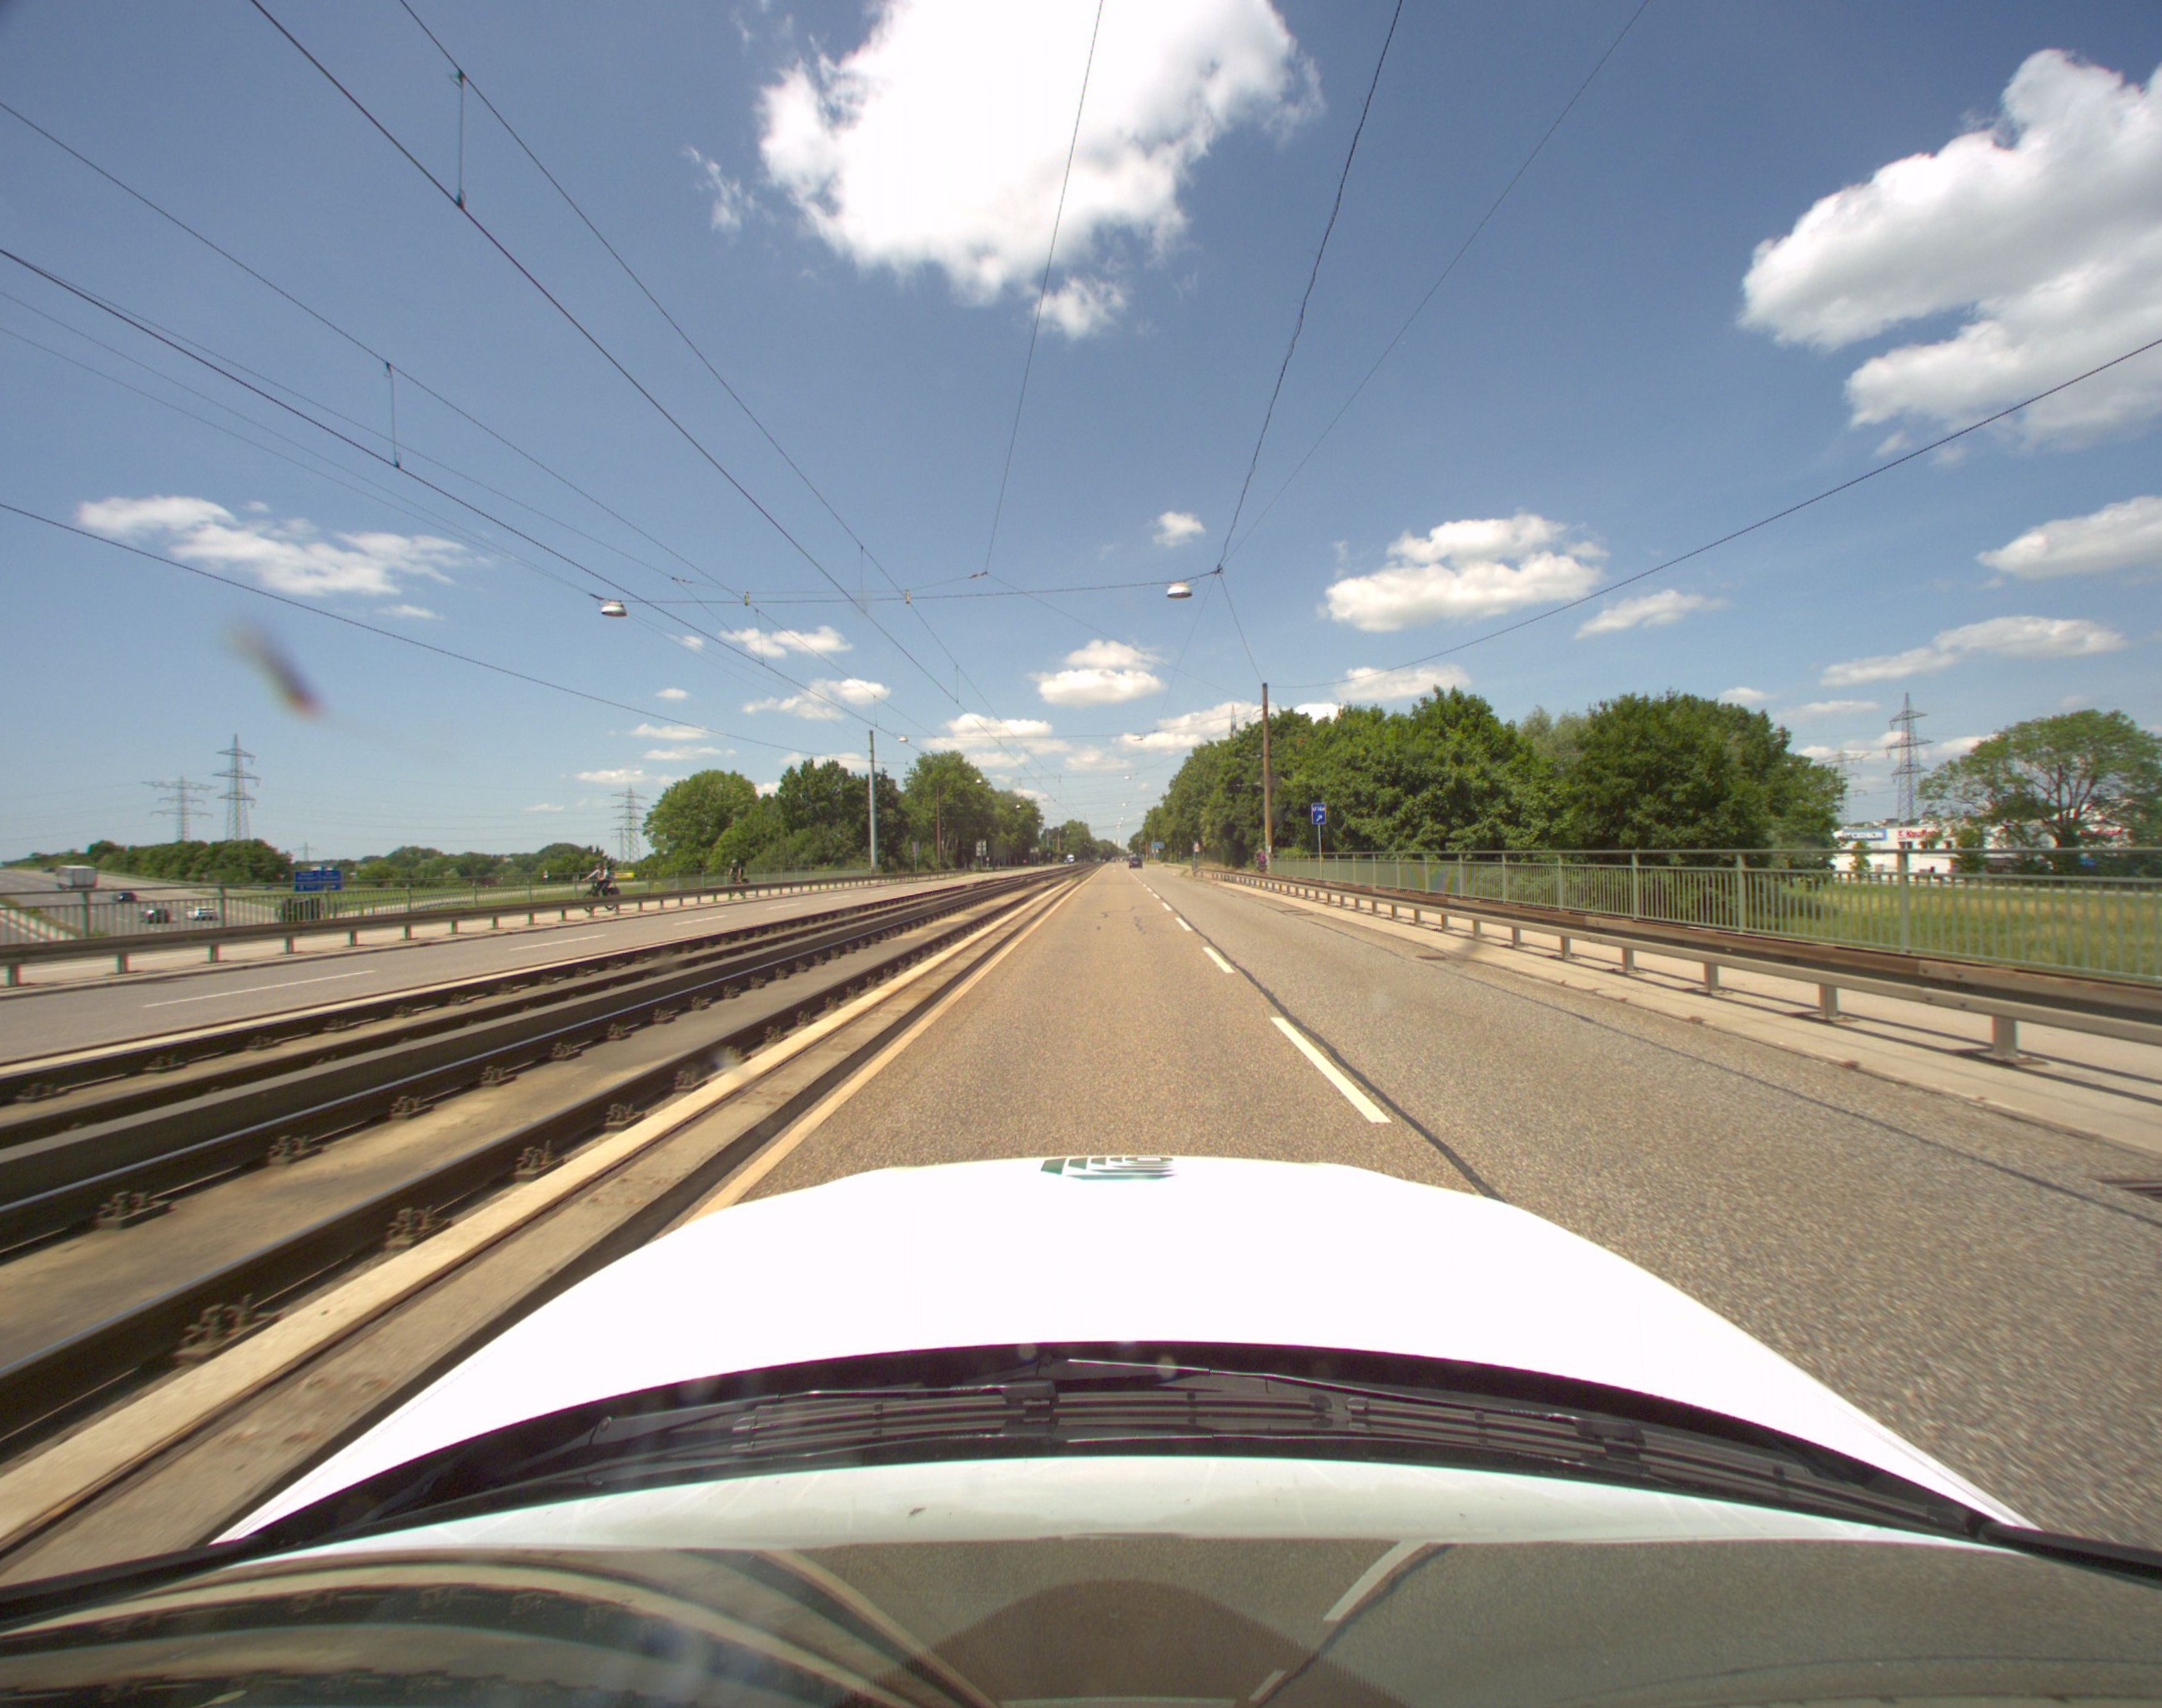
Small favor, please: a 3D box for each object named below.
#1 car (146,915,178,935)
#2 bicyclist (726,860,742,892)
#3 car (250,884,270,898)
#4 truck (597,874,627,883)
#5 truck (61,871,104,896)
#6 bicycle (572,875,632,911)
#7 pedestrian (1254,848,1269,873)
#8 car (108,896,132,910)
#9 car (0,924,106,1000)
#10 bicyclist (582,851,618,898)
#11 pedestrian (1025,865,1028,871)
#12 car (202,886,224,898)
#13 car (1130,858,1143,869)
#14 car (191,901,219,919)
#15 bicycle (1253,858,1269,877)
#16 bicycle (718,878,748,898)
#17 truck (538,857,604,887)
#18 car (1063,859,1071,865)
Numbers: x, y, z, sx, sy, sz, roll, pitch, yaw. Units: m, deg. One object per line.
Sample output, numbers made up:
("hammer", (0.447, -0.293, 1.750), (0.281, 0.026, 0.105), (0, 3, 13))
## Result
("car", (-98.890, 7.637, 87.659), (3.949, 1.642, 1.751), (4, 0, 35))
("bicyclist", (-16.504, 1.038, 38.733), (0.519, 1.497, 0.530), (0, 0, 0))
("car", (-120.123, 5.405, 119.172), (3.950, 1.642, 1.751), (4, 1, 42))
("truck", (-91.242, 4.754, 158.426), (4.811, 1.768, 1.935), (0, 1, -26))
("truck", (-170.447, 4.969, 138.979), (8.096, 3.705, 3.687), (2, 1, 33))
("bicycle", (-16.840, 1.358, 28.709), (0.853, 1.185, 2.063), (0, 0, 2))
("pedestrian", (10.196, 0.367, 46.087), (0.625, 1.374, 1.051), (-2, -1, 2))
("car", (-139.284, 7.151, 118.005), (3.949, 1.642, 1.947), (4, 1, 38))
("car", (-89.426, 8.952, 70.399), (22.166, 4.487, 5.052), (0, -1, 36))
("bicyclist", (-16.882, 0.714, 28.596), (0.760, 1.622, 0.838), (0, -1, 2))
("pedestrian", (-13.044, 3.385, 195.243), (0.512, 1.551, 0.703), (-2, -1, -3))
("car", (-144.125, 6.249, 135.222), (3.949, 1.642, 1.751), (4, 0, 32))
("car", (7.451, 1.237, 109.415), (1.580, 1.343, 3.273), (-2, 0, 1))
("car", (-100.581, 6.430, 93.498), (3.949, 1.642, 1.751), (4, 1, 36))
("bicycle", (10.211, 0.761, 46.173), (0.557, 1.024, 1.849), (-2, -1, 3))
("bicycle", (-16.506, 1.589, 38.636), (0.521, 0.843, 2.036), (0, 0, 0))
("truck", (-101.464, 3.582, 162.210), (10.845, 5.637, 3.264), (2, 1, -31))
("car", (-3.954, 2.234, 231.904), (1.810, 1.514, 4.430), (-2, 0, 2))
